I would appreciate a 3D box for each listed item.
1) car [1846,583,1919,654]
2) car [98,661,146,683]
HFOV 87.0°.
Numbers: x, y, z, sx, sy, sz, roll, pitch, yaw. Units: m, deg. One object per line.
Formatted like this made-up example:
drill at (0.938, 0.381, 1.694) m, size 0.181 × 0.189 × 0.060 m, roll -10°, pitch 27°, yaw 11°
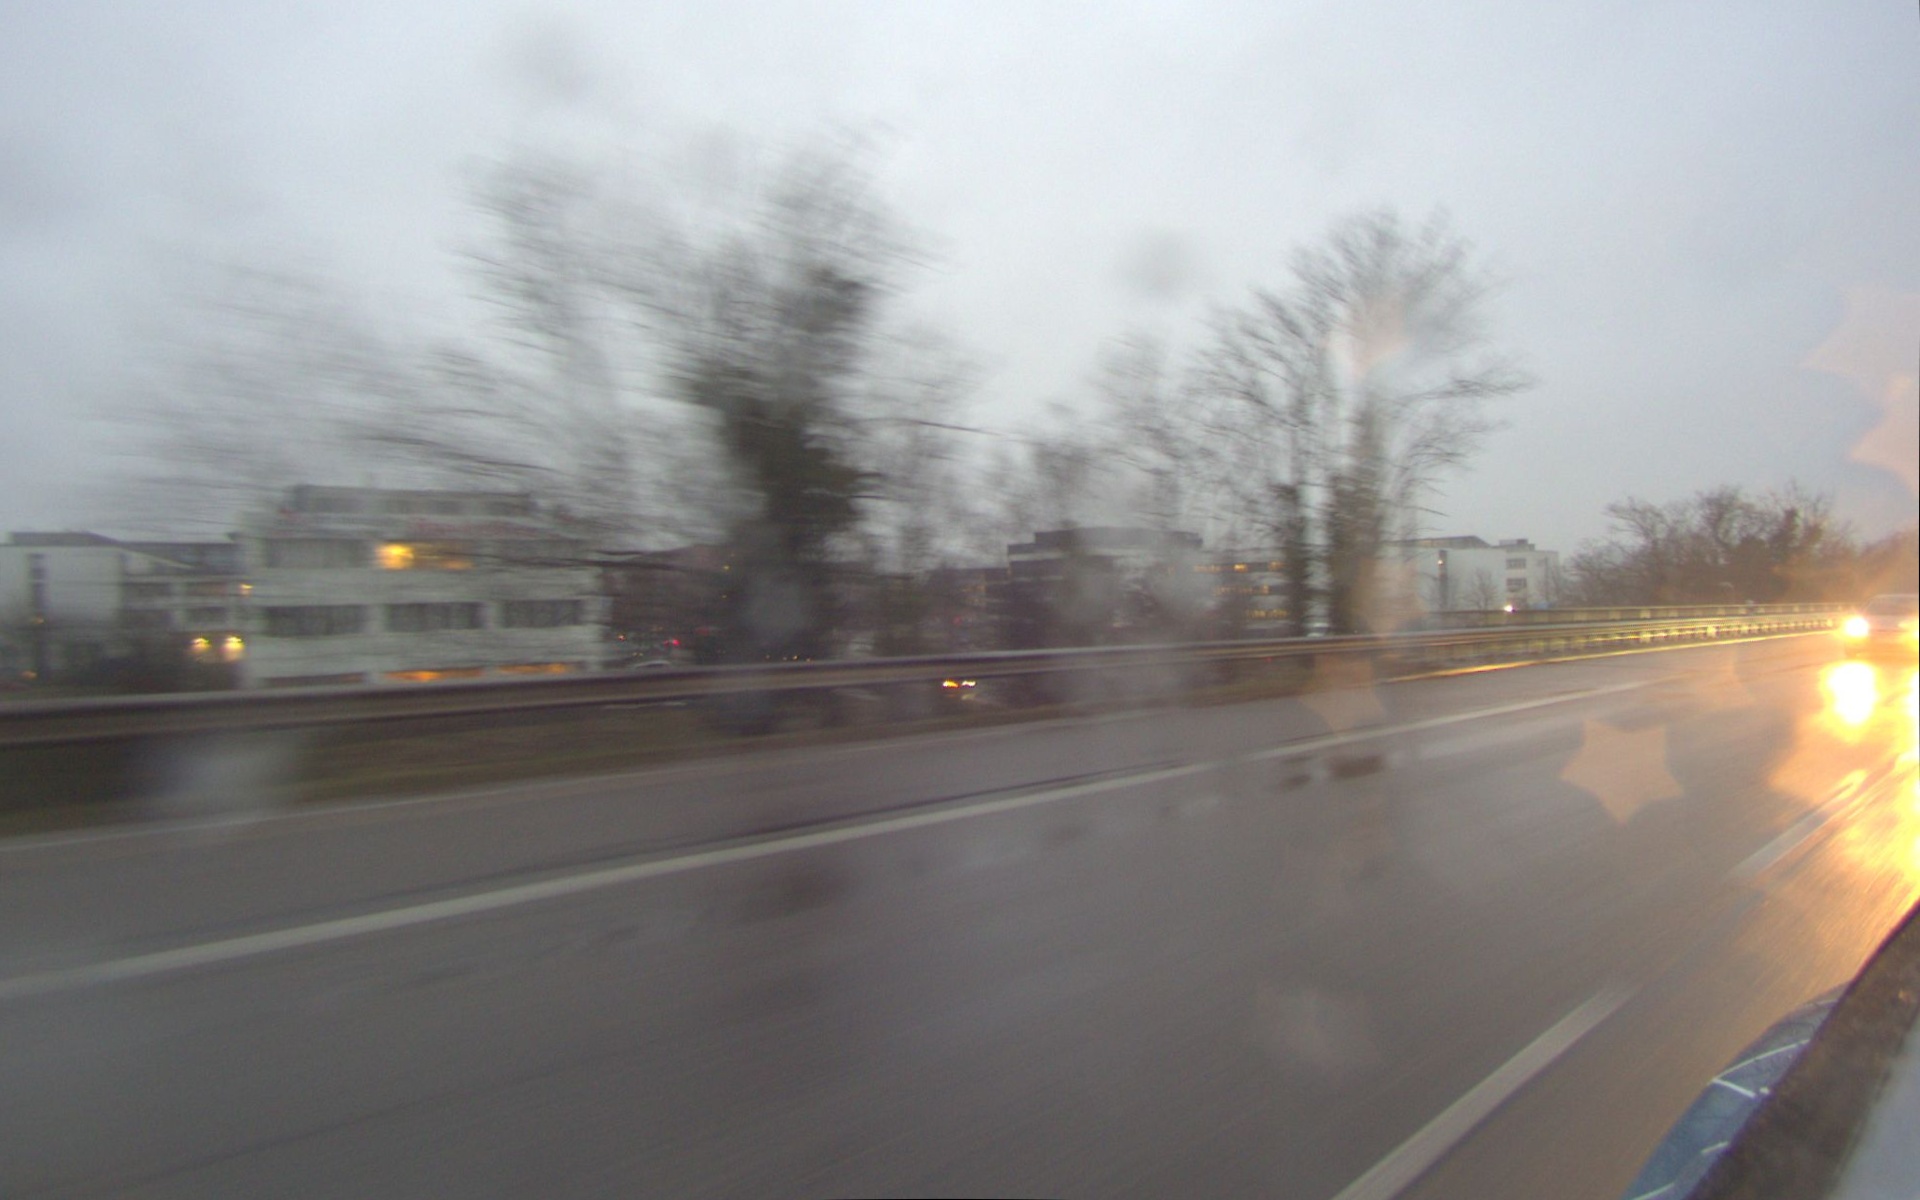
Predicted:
car at (22.319, 0.392, 23.669) m, size 4.076 × 1.549 × 1.849 m, roll -1°, pitch 0°, yaw -41°
car at (-90.751, 7.757, 109.669) m, size 3.926 × 2.039 × 1.999 m, roll -1°, pitch 0°, yaw -37°
